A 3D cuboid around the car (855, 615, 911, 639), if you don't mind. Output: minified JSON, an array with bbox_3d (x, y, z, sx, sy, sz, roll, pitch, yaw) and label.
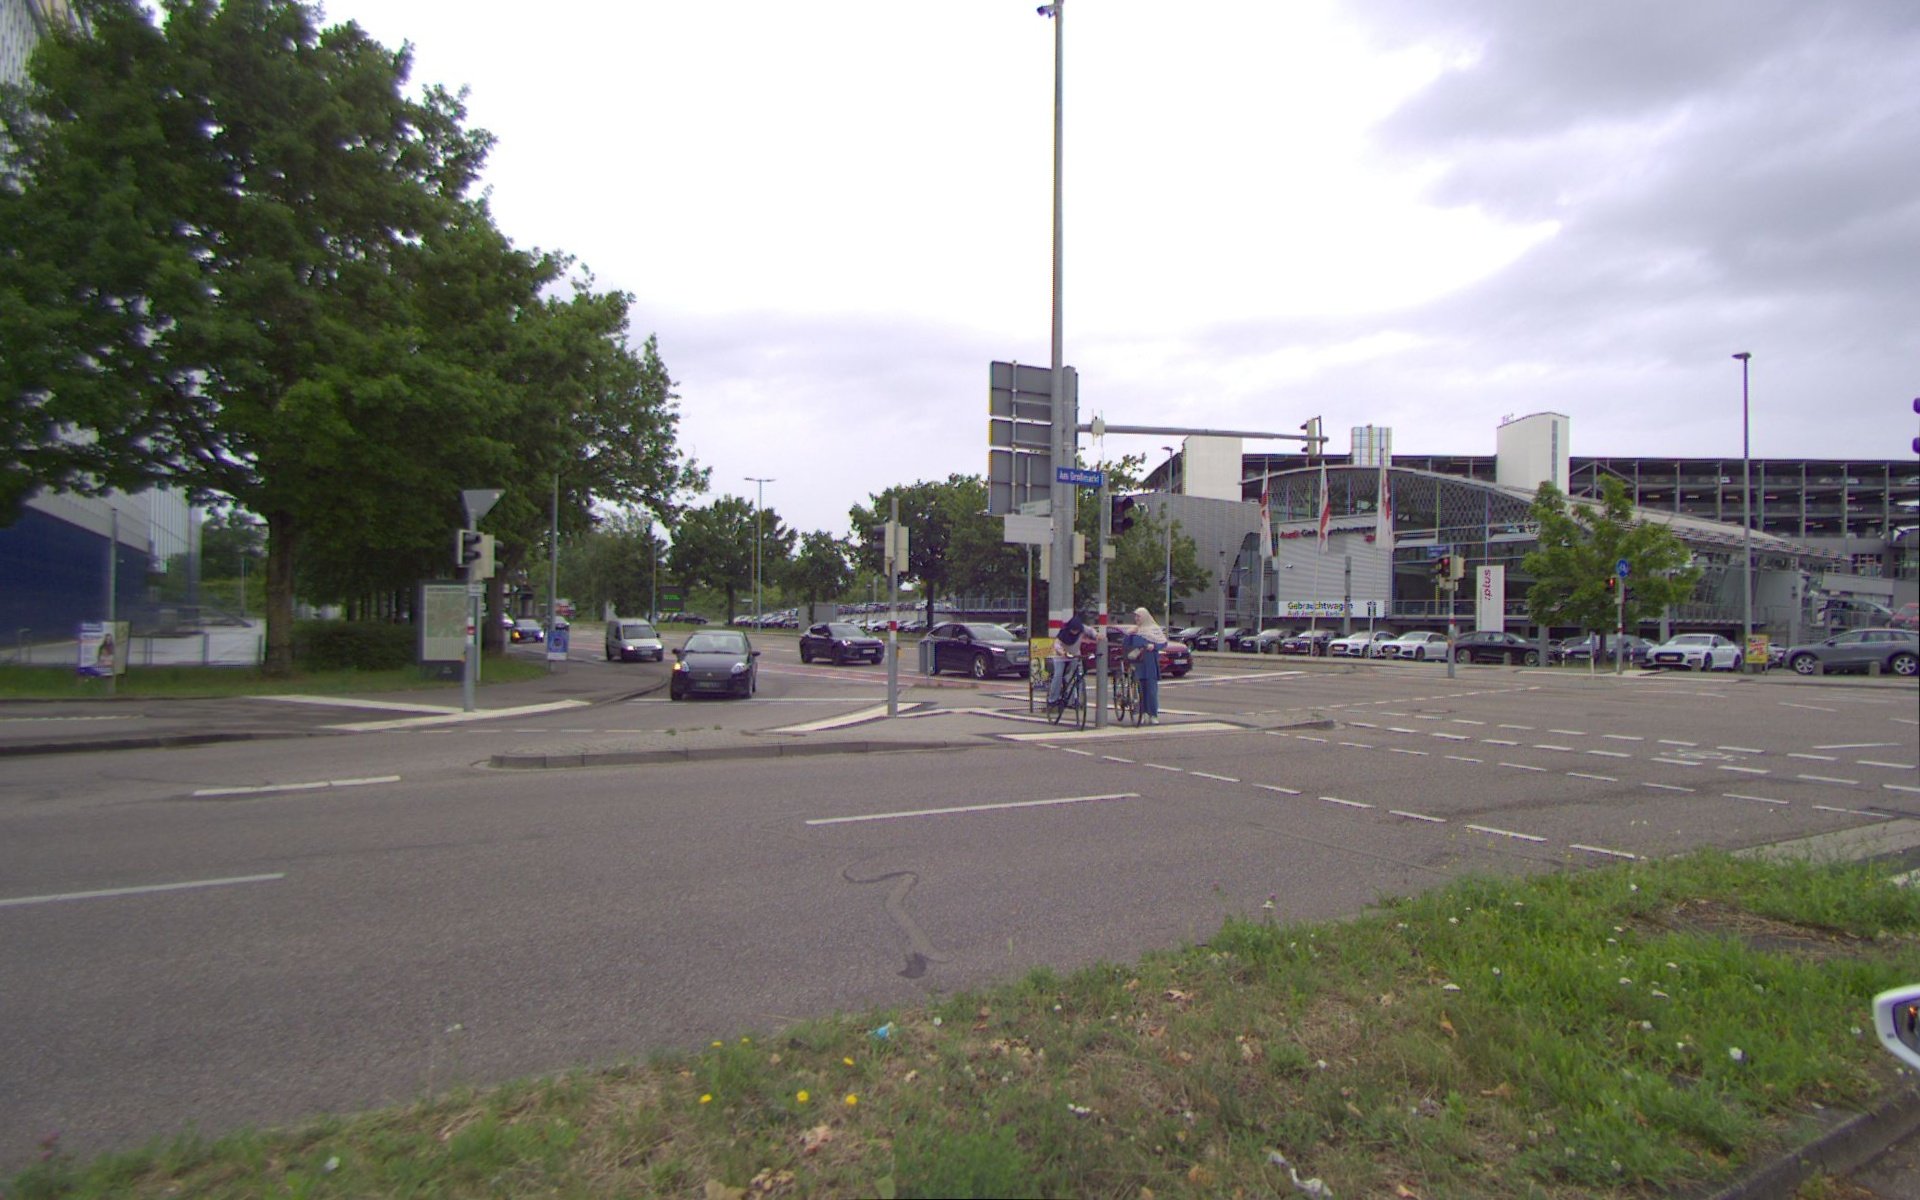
[{"bbox_3d":[-6.787,2.398,88.664,4.364,1.539,1.982,8,-3,-33],"label":"car"}]

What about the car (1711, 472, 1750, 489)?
[{"bbox_3d":[98.003,-15.168,127.883,1.960,1.689,4.001,2,0,2],"label":"car"}]

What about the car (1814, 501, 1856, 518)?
[{"bbox_3d":[110.941,-11.504,127.387,1.960,1.689,4.001,2,0,2],"label":"car"}]

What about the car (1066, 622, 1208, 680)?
[{"bbox_3d":[5.065,1.435,29.220,1.723,1.507,4.040,-1,-1,-34],"label":"car"}]

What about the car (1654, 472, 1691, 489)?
[{"bbox_3d":[90.759,-15.243,128.065,1.960,1.689,4.001,2,0,2],"label":"car"}]

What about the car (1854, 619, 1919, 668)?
[{"bbox_3d":[40.929,1.829,42.204,1.981,2.040,4.741,3,-3,-36],"label":"car"}]

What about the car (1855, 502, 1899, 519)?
[{"bbox_3d":[116.319,-11.370,127.397,1.960,1.689,4.001,2,0,2],"label":"car"}]

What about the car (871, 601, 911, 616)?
[{"bbox_3d":[-8.196,1.005,119.323,4.307,1.516,1.863,3,0,-35],"label":"car"}]

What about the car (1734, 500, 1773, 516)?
[{"bbox_3d":[100.863,-11.681,127.723,1.960,1.689,4.001,2,0,2],"label":"car"}]

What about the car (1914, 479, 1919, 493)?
[{"bbox_3d":[123.886,-14.648,127.439,1.960,1.689,4.001,2,0,2],"label":"car"}]

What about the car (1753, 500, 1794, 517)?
[{"bbox_3d":[103.322,-11.635,127.626,1.960,1.689,4.001,2,0,2],"label":"car"}]

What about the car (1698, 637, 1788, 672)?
[{"bbox_3d":[47.787,3.304,61.389,1.743,1.862,3.960,2,0,-35],"label":"car"}]

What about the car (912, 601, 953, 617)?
[{"bbox_3d":[-3.077,1.018,113.132,4.307,1.516,1.863,3,0,-35],"label":"car"}]

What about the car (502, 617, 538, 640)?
[{"bbox_3d":[-29.175,1.868,66.509,1.683,1.507,4.083,0,-1,-32],"label":"car"}]

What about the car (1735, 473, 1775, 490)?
[{"bbox_3d":[101.066,-15.051,127.746,1.960,1.689,4.001,2,0,2],"label":"car"}]

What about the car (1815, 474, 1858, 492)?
[{"bbox_3d":[111.171,-14.862,127.478,1.960,1.689,4.001,2,0,2],"label":"car"}]

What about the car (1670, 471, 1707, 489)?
[{"bbox_3d":[92.977,-15.294,128.249,1.960,1.689,4.001,2,0,2],"label":"car"}]

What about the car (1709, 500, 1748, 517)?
[{"bbox_3d":[98.073,-11.688,128.199,1.960,1.689,4.001,2,0,2],"label":"car"}]

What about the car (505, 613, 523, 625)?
[{"bbox_3d":[-69.310,2.923,156.076,2.118,1.684,3.750,3,0,-31],"label":"car"}]

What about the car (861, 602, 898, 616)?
[{"bbox_3d":[-9.705,1.069,121.455,4.058,1.516,1.713,3,0,-35],"label":"car"}]

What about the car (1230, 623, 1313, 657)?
[{"bbox_3d":[16.190,2.063,52.157,4.149,1.505,1.890,5,-3,-34],"label":"car"}]

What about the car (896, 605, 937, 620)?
[{"bbox_3d":[-4.998,1.454,115.634,4.307,1.516,2.049,3,0,-35],"label":"car"}]

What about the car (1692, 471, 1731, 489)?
[{"bbox_3d":[95.795,-15.269,128.056,1.960,1.689,4.001,2,0,2],"label":"car"}]

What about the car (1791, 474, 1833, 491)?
[{"bbox_3d":[108.148,-14.907,127.497,1.960,1.689,4.001,2,0,2],"label":"car"}]

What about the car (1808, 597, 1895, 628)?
[{"bbox_3d":[59.391,0.820,66.983,1.741,1.862,3.964,2,0,-32],"label":"car"}]

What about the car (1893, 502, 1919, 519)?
[{"bbox_3d":[121.307,-11.365,127.557,1.960,1.689,4.001,2,0,2],"label":"car"}]

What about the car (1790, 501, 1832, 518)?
[{"bbox_3d":[107.969,-11.505,127.502,1.960,1.689,4.001,2,0,2],"label":"car"}]

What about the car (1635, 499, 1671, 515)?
[{"bbox_3d":[88.243,-11.828,127.967,1.960,1.689,4.001,2,0,2],"label":"car"}]

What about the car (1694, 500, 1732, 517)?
[{"bbox_3d":[95.866,-11.653,127.931,1.960,1.689,4.001,2,0,2],"label":"car"}]

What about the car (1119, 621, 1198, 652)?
[{"bbox_3d":[11.681,2.150,59.077,4.618,1.491,1.830,5,-2,-34],"label":"car"}]

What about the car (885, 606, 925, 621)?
[{"bbox_3d":[-6.383,1.564,117.471,4.307,1.516,1.951,3,0,-35],"label":"car"}]

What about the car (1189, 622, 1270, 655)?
[{"bbox_3d":[14.658,2.093,54.564,4.336,1.489,1.877,5,-3,-34],"label":"car"}]

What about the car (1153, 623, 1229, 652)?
[{"bbox_3d":[13.088,2.127,56.806,4.126,1.409,1.885,5,-3,-34],"label":"car"}]

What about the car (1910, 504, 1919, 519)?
[{"bbox_3d":[123.509,-11.346,127.580,1.960,1.689,4.001,2,0,2],"label":"car"}]

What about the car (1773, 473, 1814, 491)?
[{"bbox_3d":[105.974,-15.014,127.698,1.960,1.689,4.001,2,0,2],"label":"car"}]

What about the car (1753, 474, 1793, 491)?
[{"bbox_3d":[103.338,-14.947,127.751,1.960,1.689,4.001,2,0,2],"label":"car"}]

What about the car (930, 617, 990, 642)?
[{"bbox_3d":[0.009,2.282,77.691,4.169,1.505,1.940,8,-3,-34],"label":"car"}]

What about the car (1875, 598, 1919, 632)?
[{"bbox_3d":[56.115,0.921,59.453,3.959,1.873,1.981,3,0,-34],"label":"car"}]

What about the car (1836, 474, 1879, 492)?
[{"bbox_3d":[113.791,-14.825,127.449,1.960,1.689,4.001,2,0,2],"label":"car"}]

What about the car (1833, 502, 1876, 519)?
[{"bbox_3d":[113.528,-11.334,127.513,1.960,1.689,4.001,2,0,2],"label":"car"}]
